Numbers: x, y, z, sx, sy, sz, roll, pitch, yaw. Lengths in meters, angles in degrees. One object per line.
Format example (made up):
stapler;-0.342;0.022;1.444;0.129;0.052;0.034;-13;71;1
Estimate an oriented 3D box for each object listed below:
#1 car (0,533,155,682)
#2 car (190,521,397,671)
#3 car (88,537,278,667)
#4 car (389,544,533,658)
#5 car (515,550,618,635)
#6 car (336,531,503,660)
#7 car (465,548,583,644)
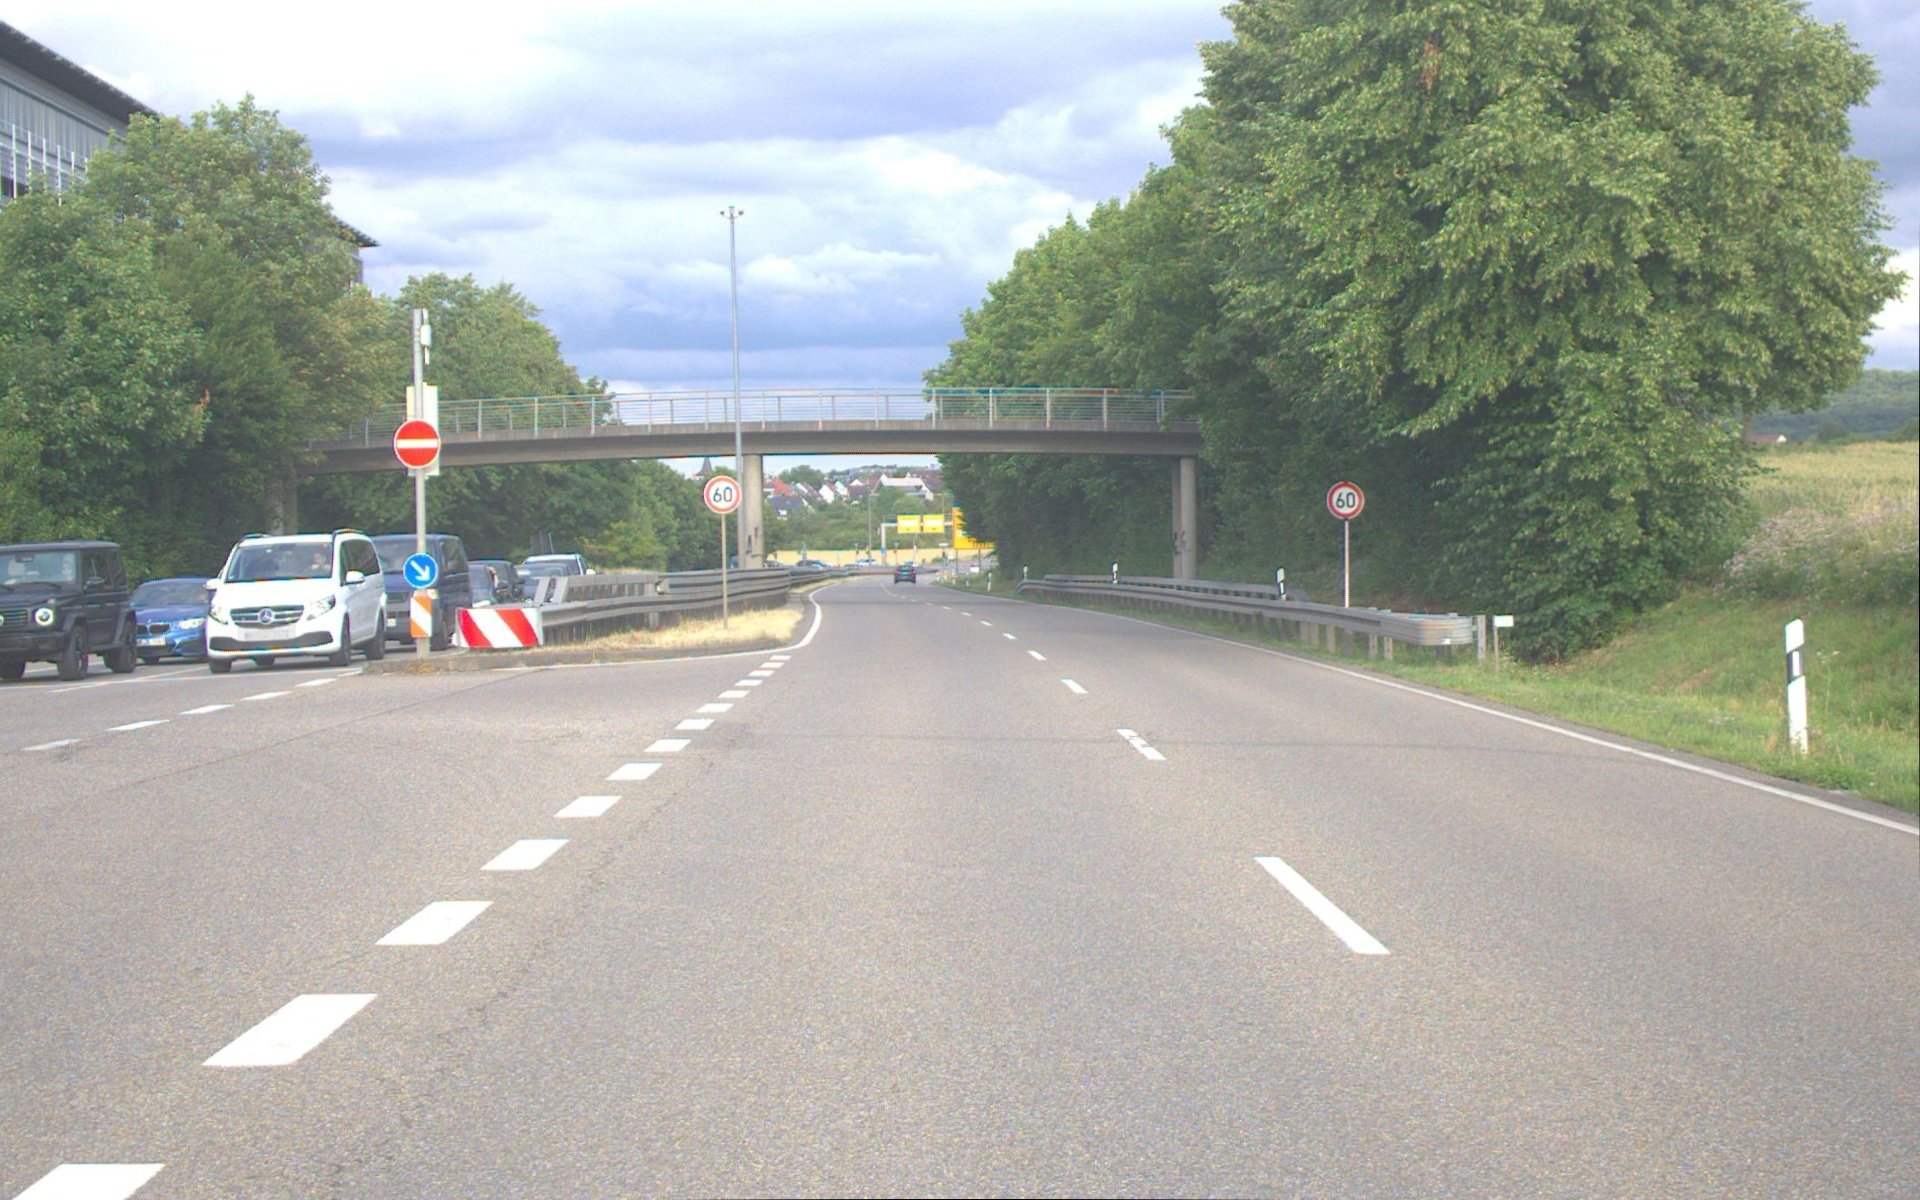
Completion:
car;-13.119;0.068;49.248;2.083;2.007;5.217;1;0;-2
car;-9.485;-0.080;49.359;2.083;2.007;5.217;1;0;-2
car;-12.752;0.007;56.749;2.083;2.007;5.217;1;0;-2
car;-9.330;-0.005;64.663;2.083;2.007;5.217;1;0;-2
car;-9.741;-0.199;85.460;2.083;2.007;5.217;1;0;-2
car;-8.908;-0.097;57.096;2.083;2.007;5.217;1;0;-2
car;-9.547;-0.108;75.642;2.083;2.007;5.217;1;0;-2
